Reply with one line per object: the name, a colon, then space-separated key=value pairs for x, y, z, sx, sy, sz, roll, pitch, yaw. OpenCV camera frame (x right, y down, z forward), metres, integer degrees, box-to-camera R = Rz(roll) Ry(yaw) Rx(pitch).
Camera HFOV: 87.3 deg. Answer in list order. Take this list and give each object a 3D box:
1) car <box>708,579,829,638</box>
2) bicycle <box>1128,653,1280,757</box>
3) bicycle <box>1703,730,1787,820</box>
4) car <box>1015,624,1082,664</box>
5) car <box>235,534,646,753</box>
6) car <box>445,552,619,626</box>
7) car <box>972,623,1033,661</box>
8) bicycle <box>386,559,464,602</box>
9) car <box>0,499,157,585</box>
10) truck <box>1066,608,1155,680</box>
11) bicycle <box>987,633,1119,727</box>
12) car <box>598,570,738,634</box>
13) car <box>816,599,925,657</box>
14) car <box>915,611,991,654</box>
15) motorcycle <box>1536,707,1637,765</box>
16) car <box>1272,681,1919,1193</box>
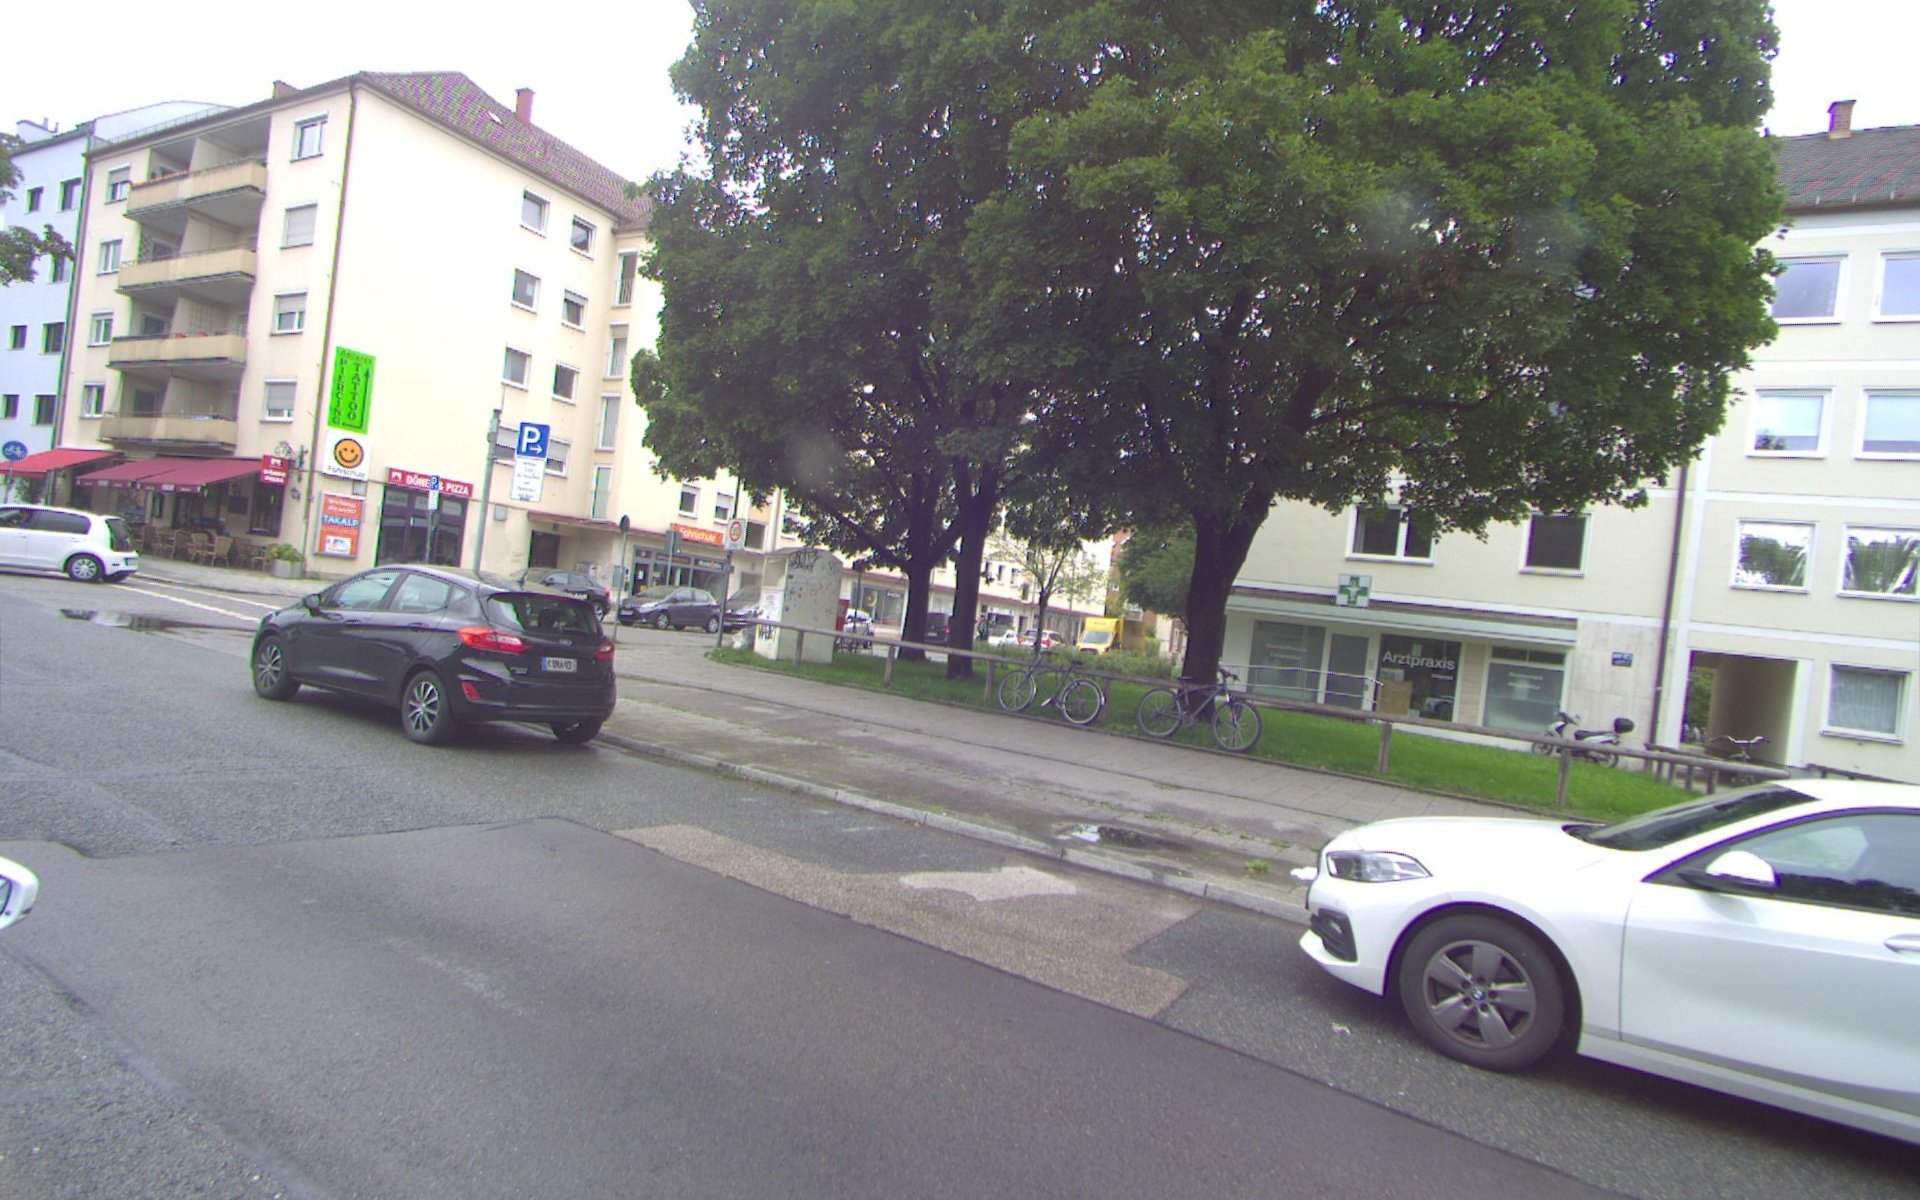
car: x=-7.284 y=0.388 z=38.761 sx=1.840 sy=1.794 sz=4.743 roll=7 pitch=0 yaw=29
bicycle: x=3.276 y=1.393 z=13.596 sx=1.852 sy=1.116 sz=0.382 roll=6 pitch=-1 yaw=32
bicycle: x=9.884 y=2.170 z=12.718 sx=0.548 sy=0.950 sz=1.881 roll=7 pitch=-2 yaw=32
car: x=4.812 y=2.408 z=54.320 sx=1.839 sy=1.680 sz=4.404 roll=8 pitch=-1 yaw=28
car: x=-4.917 y=0.370 z=9.442 sx=3.613 sy=1.482 sz=1.621 roll=7 pitch=-3 yaw=31
car: x=-12.323 y=-0.262 z=29.261 sx=1.838 sy=1.681 sz=4.403 roll=7 pitch=0 yaw=26
car: x=2.477 y=2.446 z=57.594 sx=1.839 sy=1.679 sz=4.089 roll=7 pitch=-3 yaw=27
bicycle: x=-15.167 y=-0.528 z=28.557 sx=0.548 sy=0.968 sz=1.852 roll=7 pitch=-2 yaw=30
car: x=-19.182 y=-1.265 z=20.812 sx=3.514 sy=1.434 sz=1.861 roll=8 pitch=0 yaw=-24
truck: x=8.328 y=2.500 z=54.717 sx=2.318 sy=3.282 sz=7.427 roll=7 pitch=-2 yaw=26
bicycle: x=1.341 y=1.154 z=14.756 sx=1.823 sy=1.118 sz=0.390 roll=6 pitch=-1 yaw=32
car: x=-9.697 y=0.125 z=33.808 sx=1.839 sy=1.681 sz=4.402 roll=7 pitch=0 yaw=28
car: x=-3.387 y=1.140 z=39.044 sx=1.839 sy=1.679 sz=4.741 roll=7 pitch=-3 yaw=27
car: x=-0.274 y=1.724 z=52.181 sx=1.839 sy=1.679 sz=4.751 roll=7 pitch=-3 yaw=27
motorcycle: x=14.563 y=3.151 z=23.433 sx=1.875 sy=1.035 sz=0.605 roll=6 pitch=-1 yaw=32
car: x=3.696 y=1.423 z=4.374 sx=4.067 sy=1.481 sz=1.687 roll=7 pitch=-3 yaw=30
